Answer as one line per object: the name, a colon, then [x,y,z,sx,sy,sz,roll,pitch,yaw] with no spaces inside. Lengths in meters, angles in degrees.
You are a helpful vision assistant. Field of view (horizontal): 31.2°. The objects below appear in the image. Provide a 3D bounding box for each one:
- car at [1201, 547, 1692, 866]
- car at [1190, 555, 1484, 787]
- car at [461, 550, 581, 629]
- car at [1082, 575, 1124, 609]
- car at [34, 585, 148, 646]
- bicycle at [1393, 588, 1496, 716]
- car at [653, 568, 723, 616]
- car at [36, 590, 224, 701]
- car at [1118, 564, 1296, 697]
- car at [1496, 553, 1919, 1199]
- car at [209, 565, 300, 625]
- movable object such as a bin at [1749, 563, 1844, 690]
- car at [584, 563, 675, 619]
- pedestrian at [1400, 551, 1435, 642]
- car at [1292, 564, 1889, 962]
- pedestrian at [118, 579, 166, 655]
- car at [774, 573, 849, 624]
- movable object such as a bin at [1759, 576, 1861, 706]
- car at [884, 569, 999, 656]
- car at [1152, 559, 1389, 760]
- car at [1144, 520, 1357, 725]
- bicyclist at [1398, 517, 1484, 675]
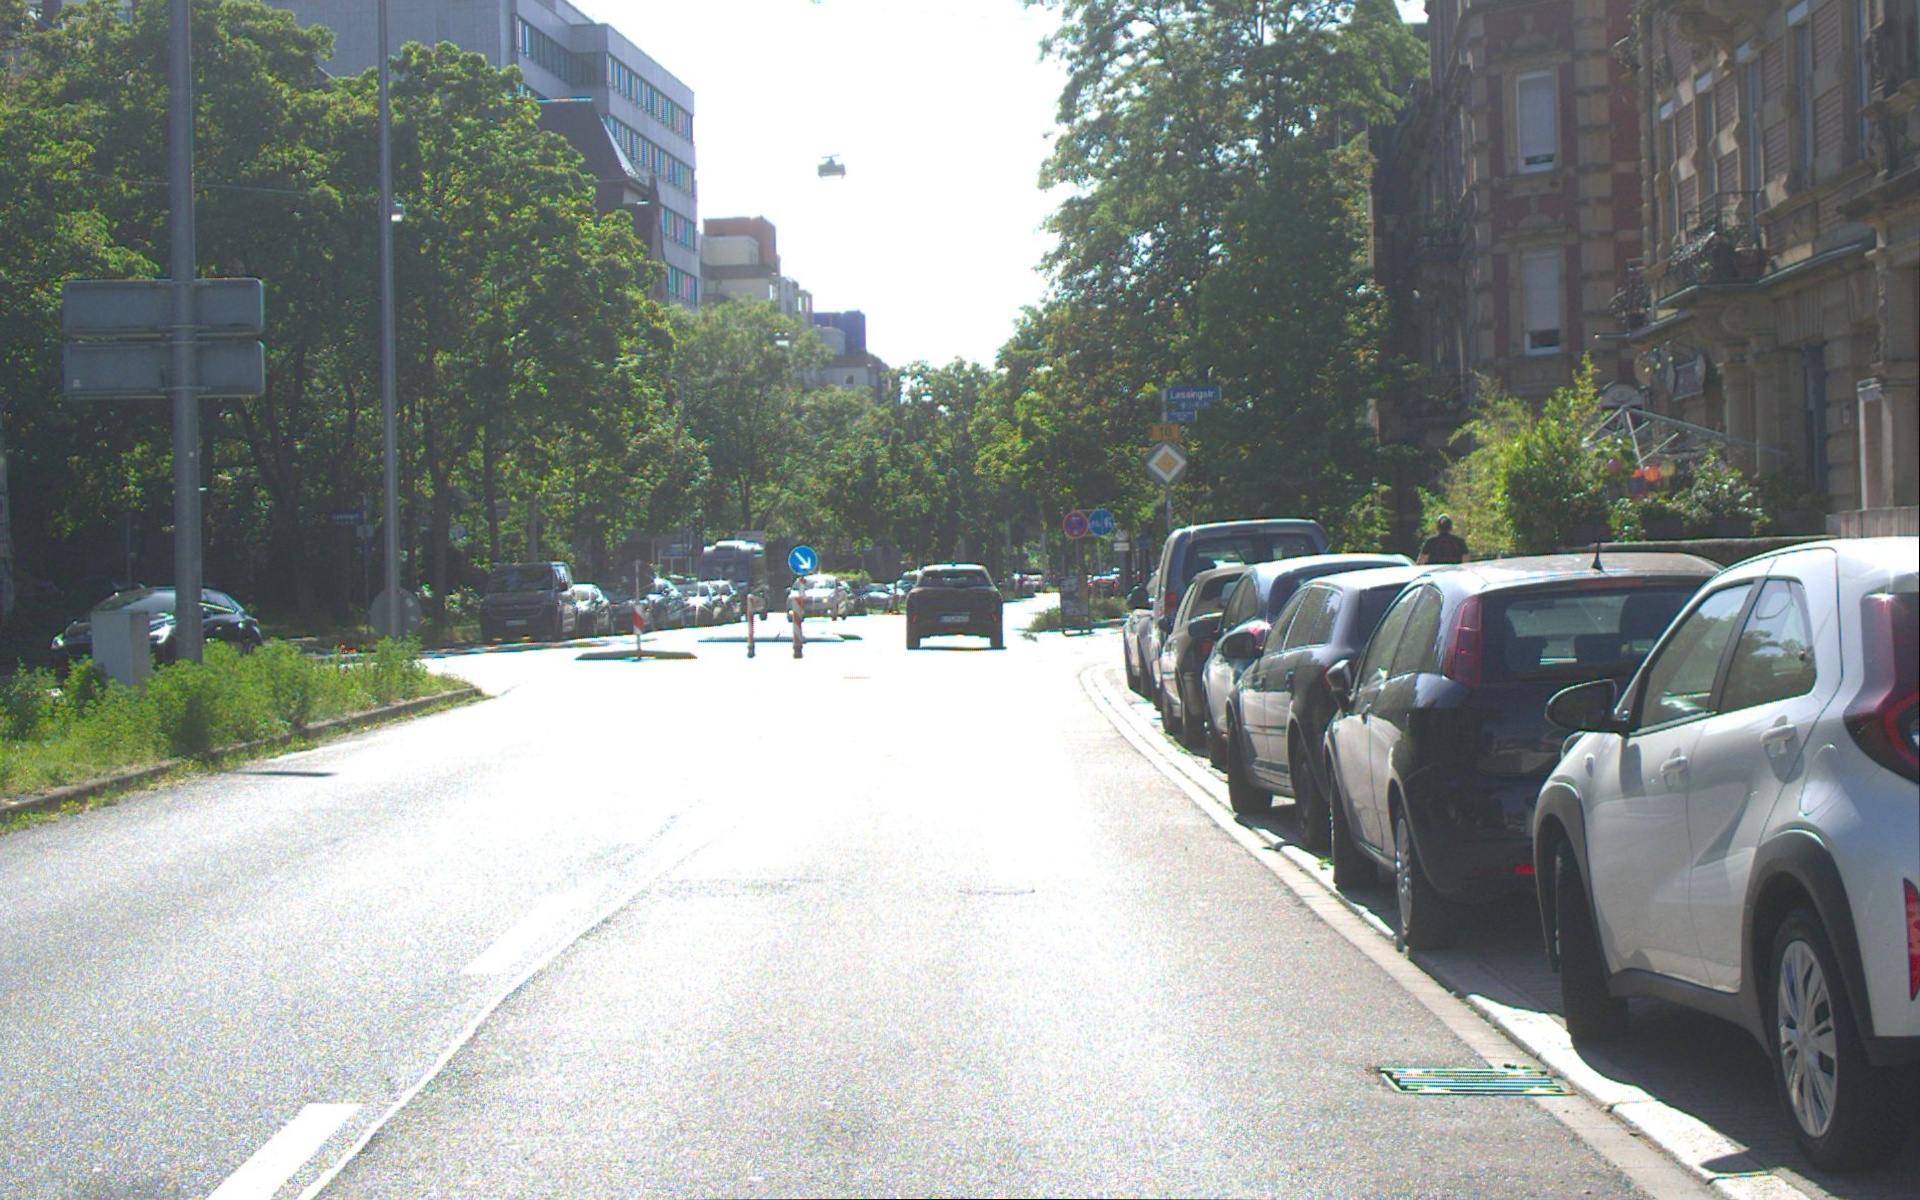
car: [2.545,0.491,19.103,1.935,1.514,4.484,-2,1,-2]
car: [2.607,0.447,24.396,1.621,1.465,3.299,2,1,-1]
car: [-11.088,-0.294,87.164,2.199,1.923,4.862,-1,1,2]
car: [7.359,-0.428,176.304,1.921,1.634,3.999,-1,1,5]
car: [-24.546,0.426,97.023,1.975,1.656,4.000,-2,1,-31]
bicycle: [4.897,0.511,34.874,0.741,1.215,1.960,-3,0,1]
car: [-8.522,-0.268,107.995,1.524,1.427,3.336,-1,1,7]
car: [-12.086,0.631,50.318,1.795,1.514,4.424,0,1,-2]
car: [2.751,0.304,38.991,1.709,1.420,4.206,0,1,0]
car: [2.714,0.639,9.417,1.667,1.514,3.662,-2,1,-4]
car: [-20.560,-0.153,100.079,1.974,1.656,4.001,-1,1,-20]
movable object such as a bin: [7.745,0.247,31.848,0.722,1.153,0.608,0,-3,2]
car: [-9.404,-0.271,98.027,1.759,1.514,3.858,-1,1,7]
pedestrian: [9.230,-0.066,69.373,0.656,1.810,0.751,0,-3,5]
car: [2.473,0.572,14.365,1.668,1.389,3.775,-2,1,-2]
pedestrian: [-17.747,0.371,74.585,0.669,1.621,0.714,-1,0,33]
car: [-4.835,-0.061,112.437,1.759,1.514,3.858,-2,1,7]
movable object such as a bin: [7.662,0.378,31.009,0.759,1.153,0.608,0,-3,2]
car: [-0.377,0.210,63.447,1.894,1.514,4.000,1,0,-3]
car: [2.469,0.426,28.167,1.668,1.463,4.274,-1,1,2]
car: [2.780,0.176,33.677,1.819,1.837,4.364,-1,1,2]
bicyclist: [4.871,-0.051,34.842,0.741,1.575,1.100,0,1,1]
